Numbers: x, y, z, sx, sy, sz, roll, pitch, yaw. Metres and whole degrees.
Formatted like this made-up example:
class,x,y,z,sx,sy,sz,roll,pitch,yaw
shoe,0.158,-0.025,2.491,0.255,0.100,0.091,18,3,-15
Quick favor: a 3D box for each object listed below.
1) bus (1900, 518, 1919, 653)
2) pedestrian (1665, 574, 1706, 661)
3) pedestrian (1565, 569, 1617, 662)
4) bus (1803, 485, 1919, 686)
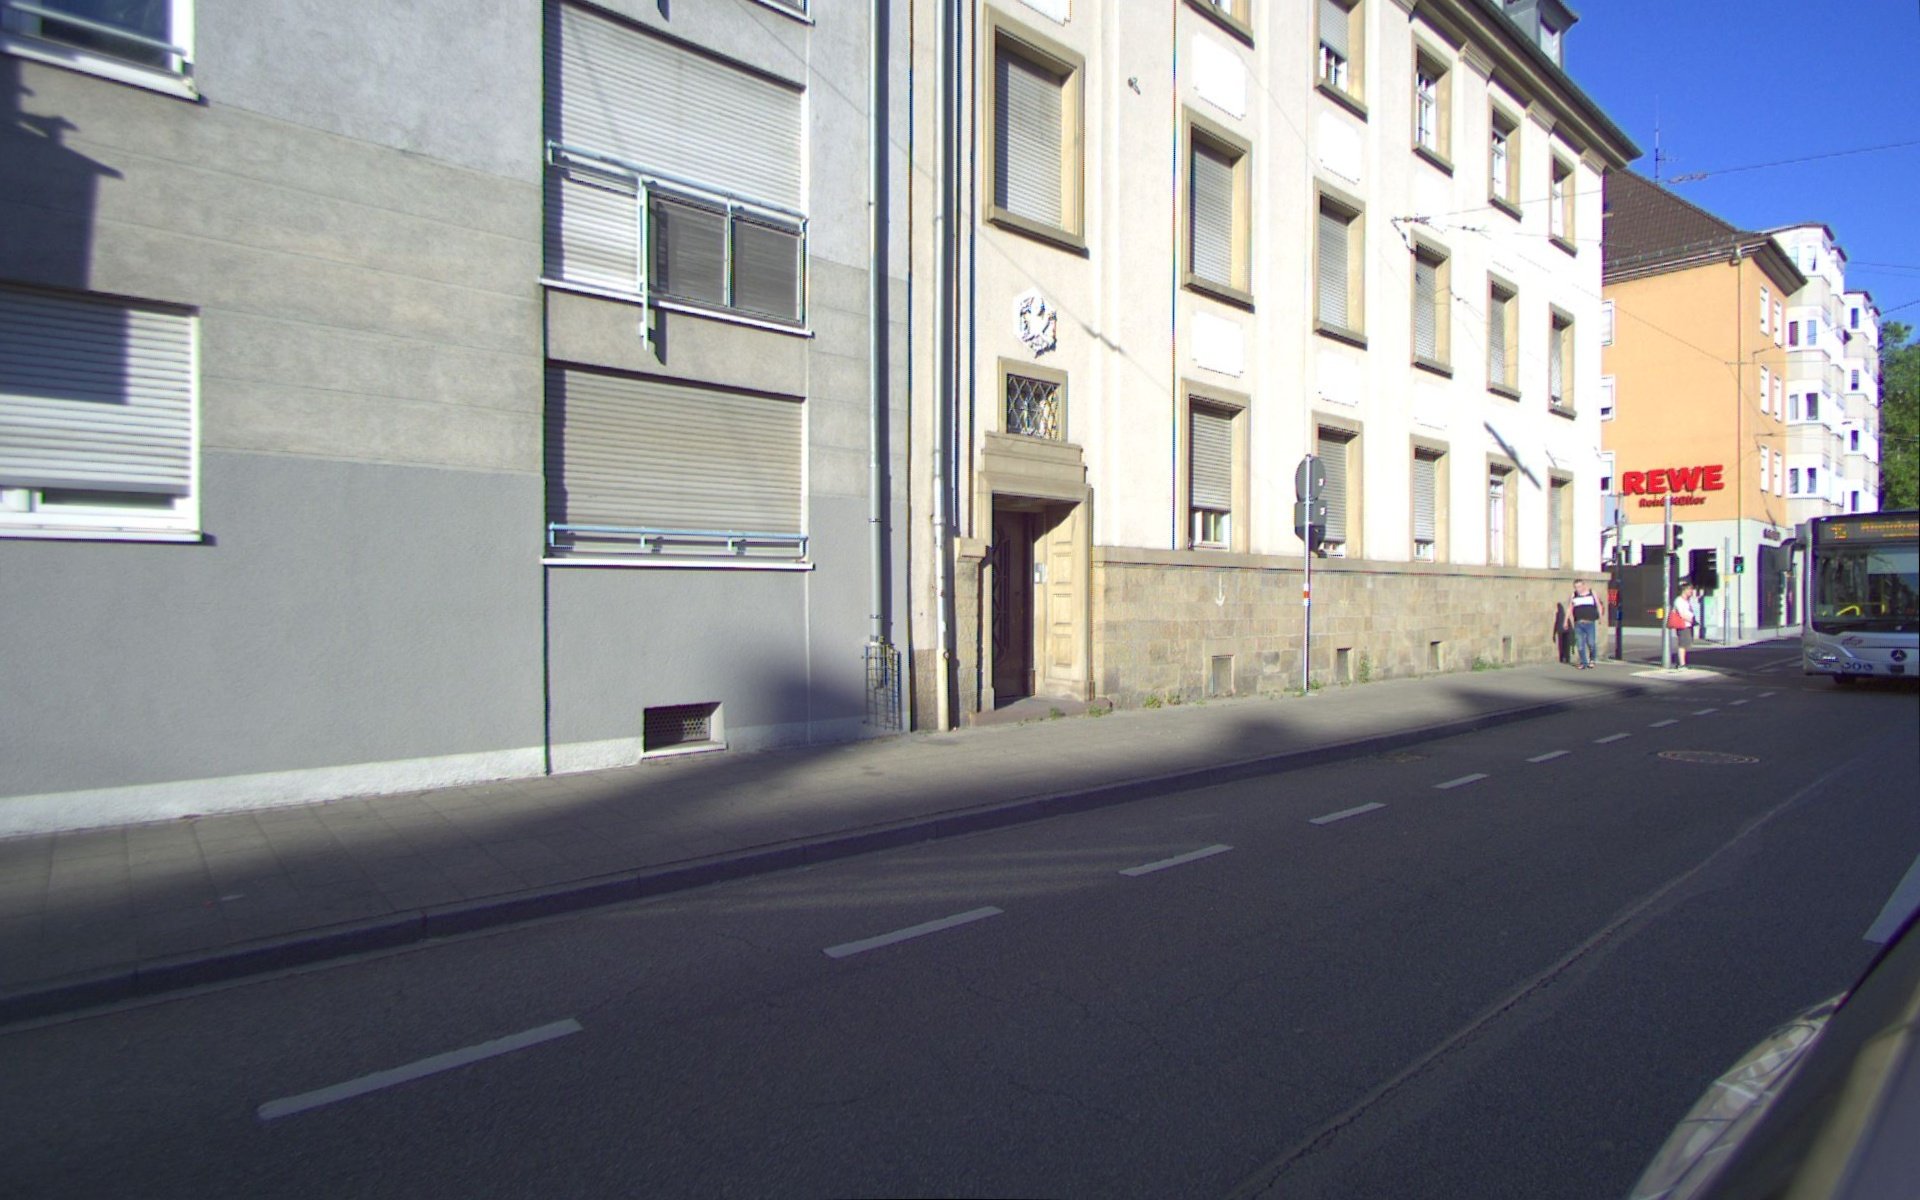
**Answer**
class,x,y,z,sx,sy,sz,roll,pitch,yaw
bus,26.743,-0.404,25.952,10.415,3.116,2.710,-1,0,-41
pedestrian,15.040,0.350,20.974,0.438,1.752,0.527,2,1,-42
pedestrian,12.313,0.291,19.750,0.549,1.752,0.648,0,3,-40
bus,18.811,-0.290,19.129,10.414,3.116,2.729,-1,0,-41
